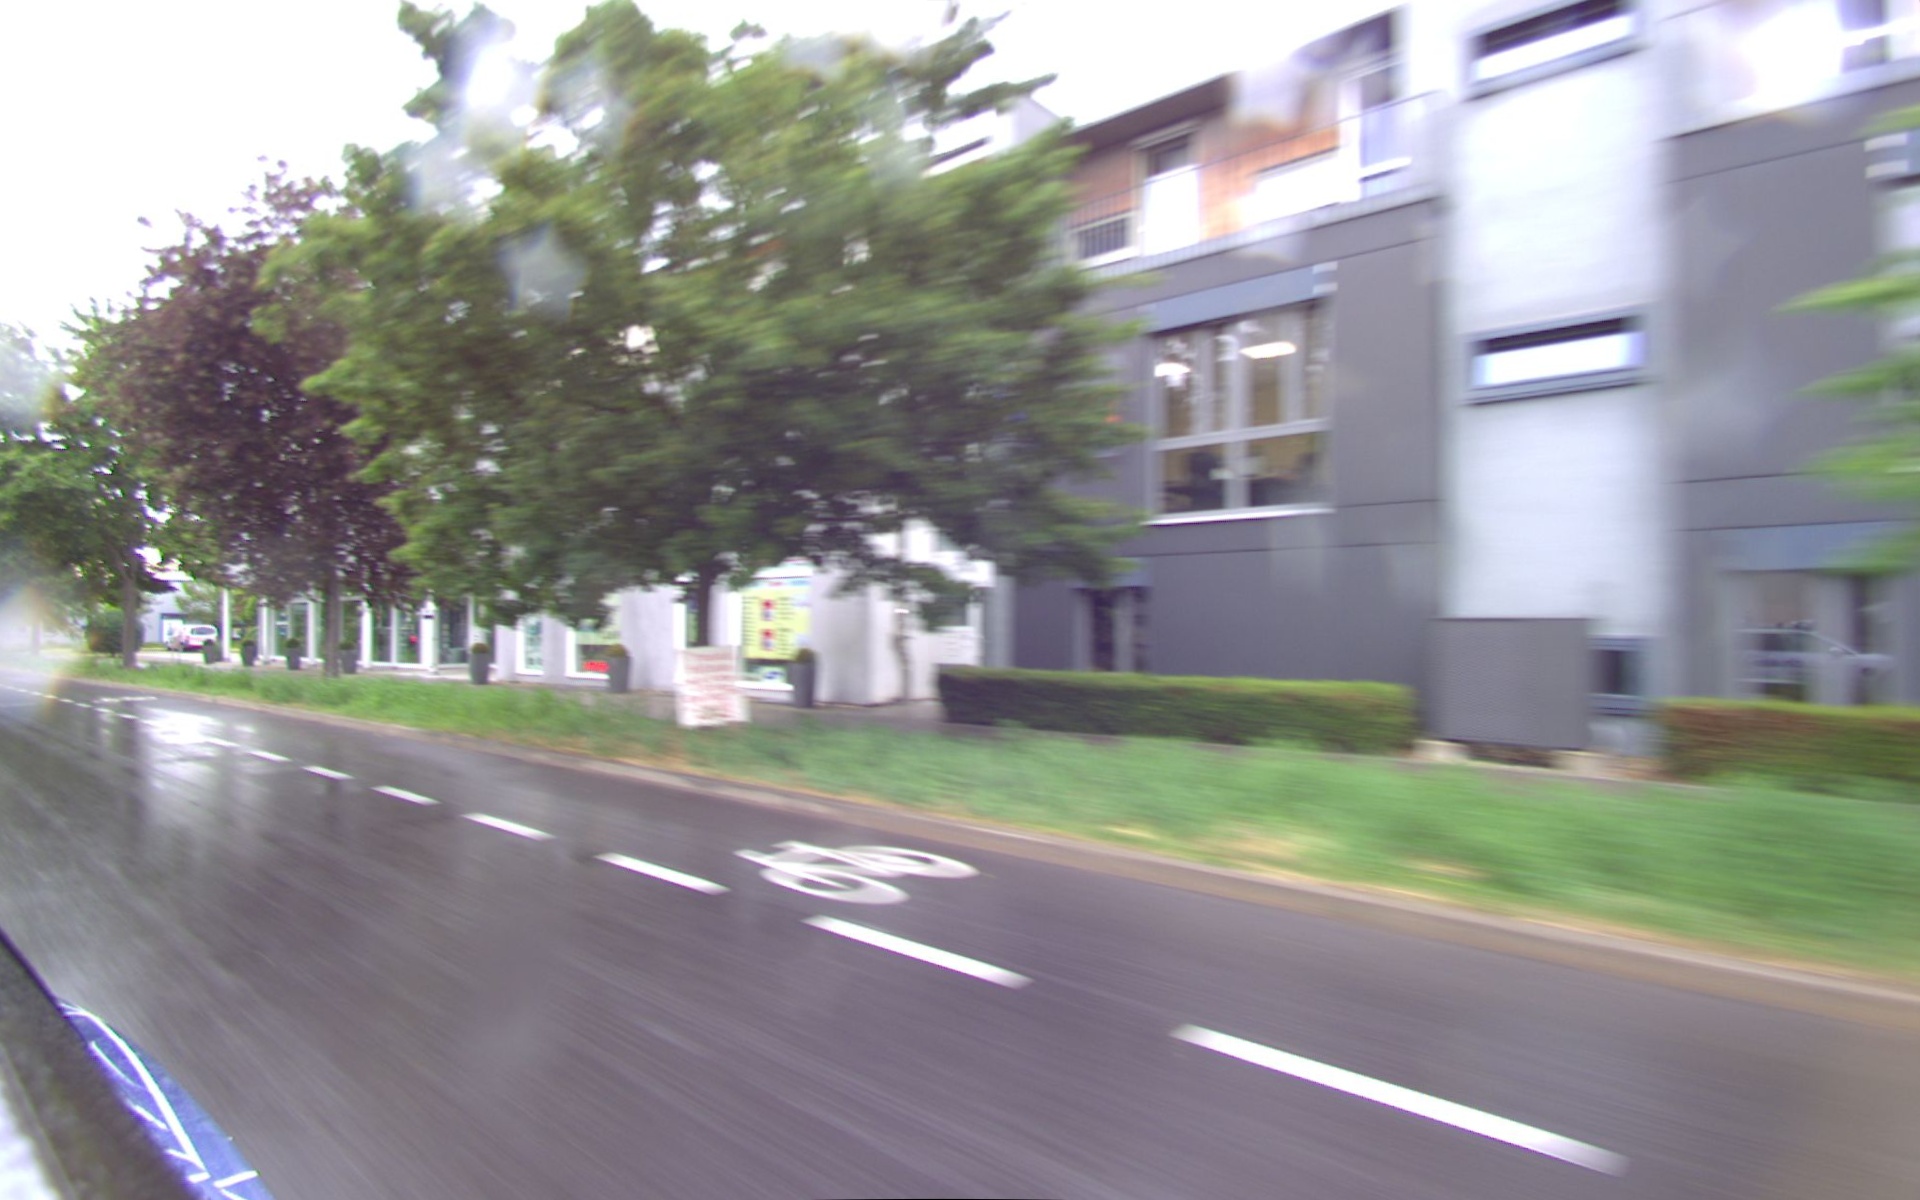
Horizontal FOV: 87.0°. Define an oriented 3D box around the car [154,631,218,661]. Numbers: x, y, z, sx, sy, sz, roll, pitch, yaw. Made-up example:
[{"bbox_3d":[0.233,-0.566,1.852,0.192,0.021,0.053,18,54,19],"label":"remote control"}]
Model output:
[{"bbox_3d":[-54.103,3.229,70.743,5.597,1.836,2.016,-3,-2,36],"label":"car"}]
